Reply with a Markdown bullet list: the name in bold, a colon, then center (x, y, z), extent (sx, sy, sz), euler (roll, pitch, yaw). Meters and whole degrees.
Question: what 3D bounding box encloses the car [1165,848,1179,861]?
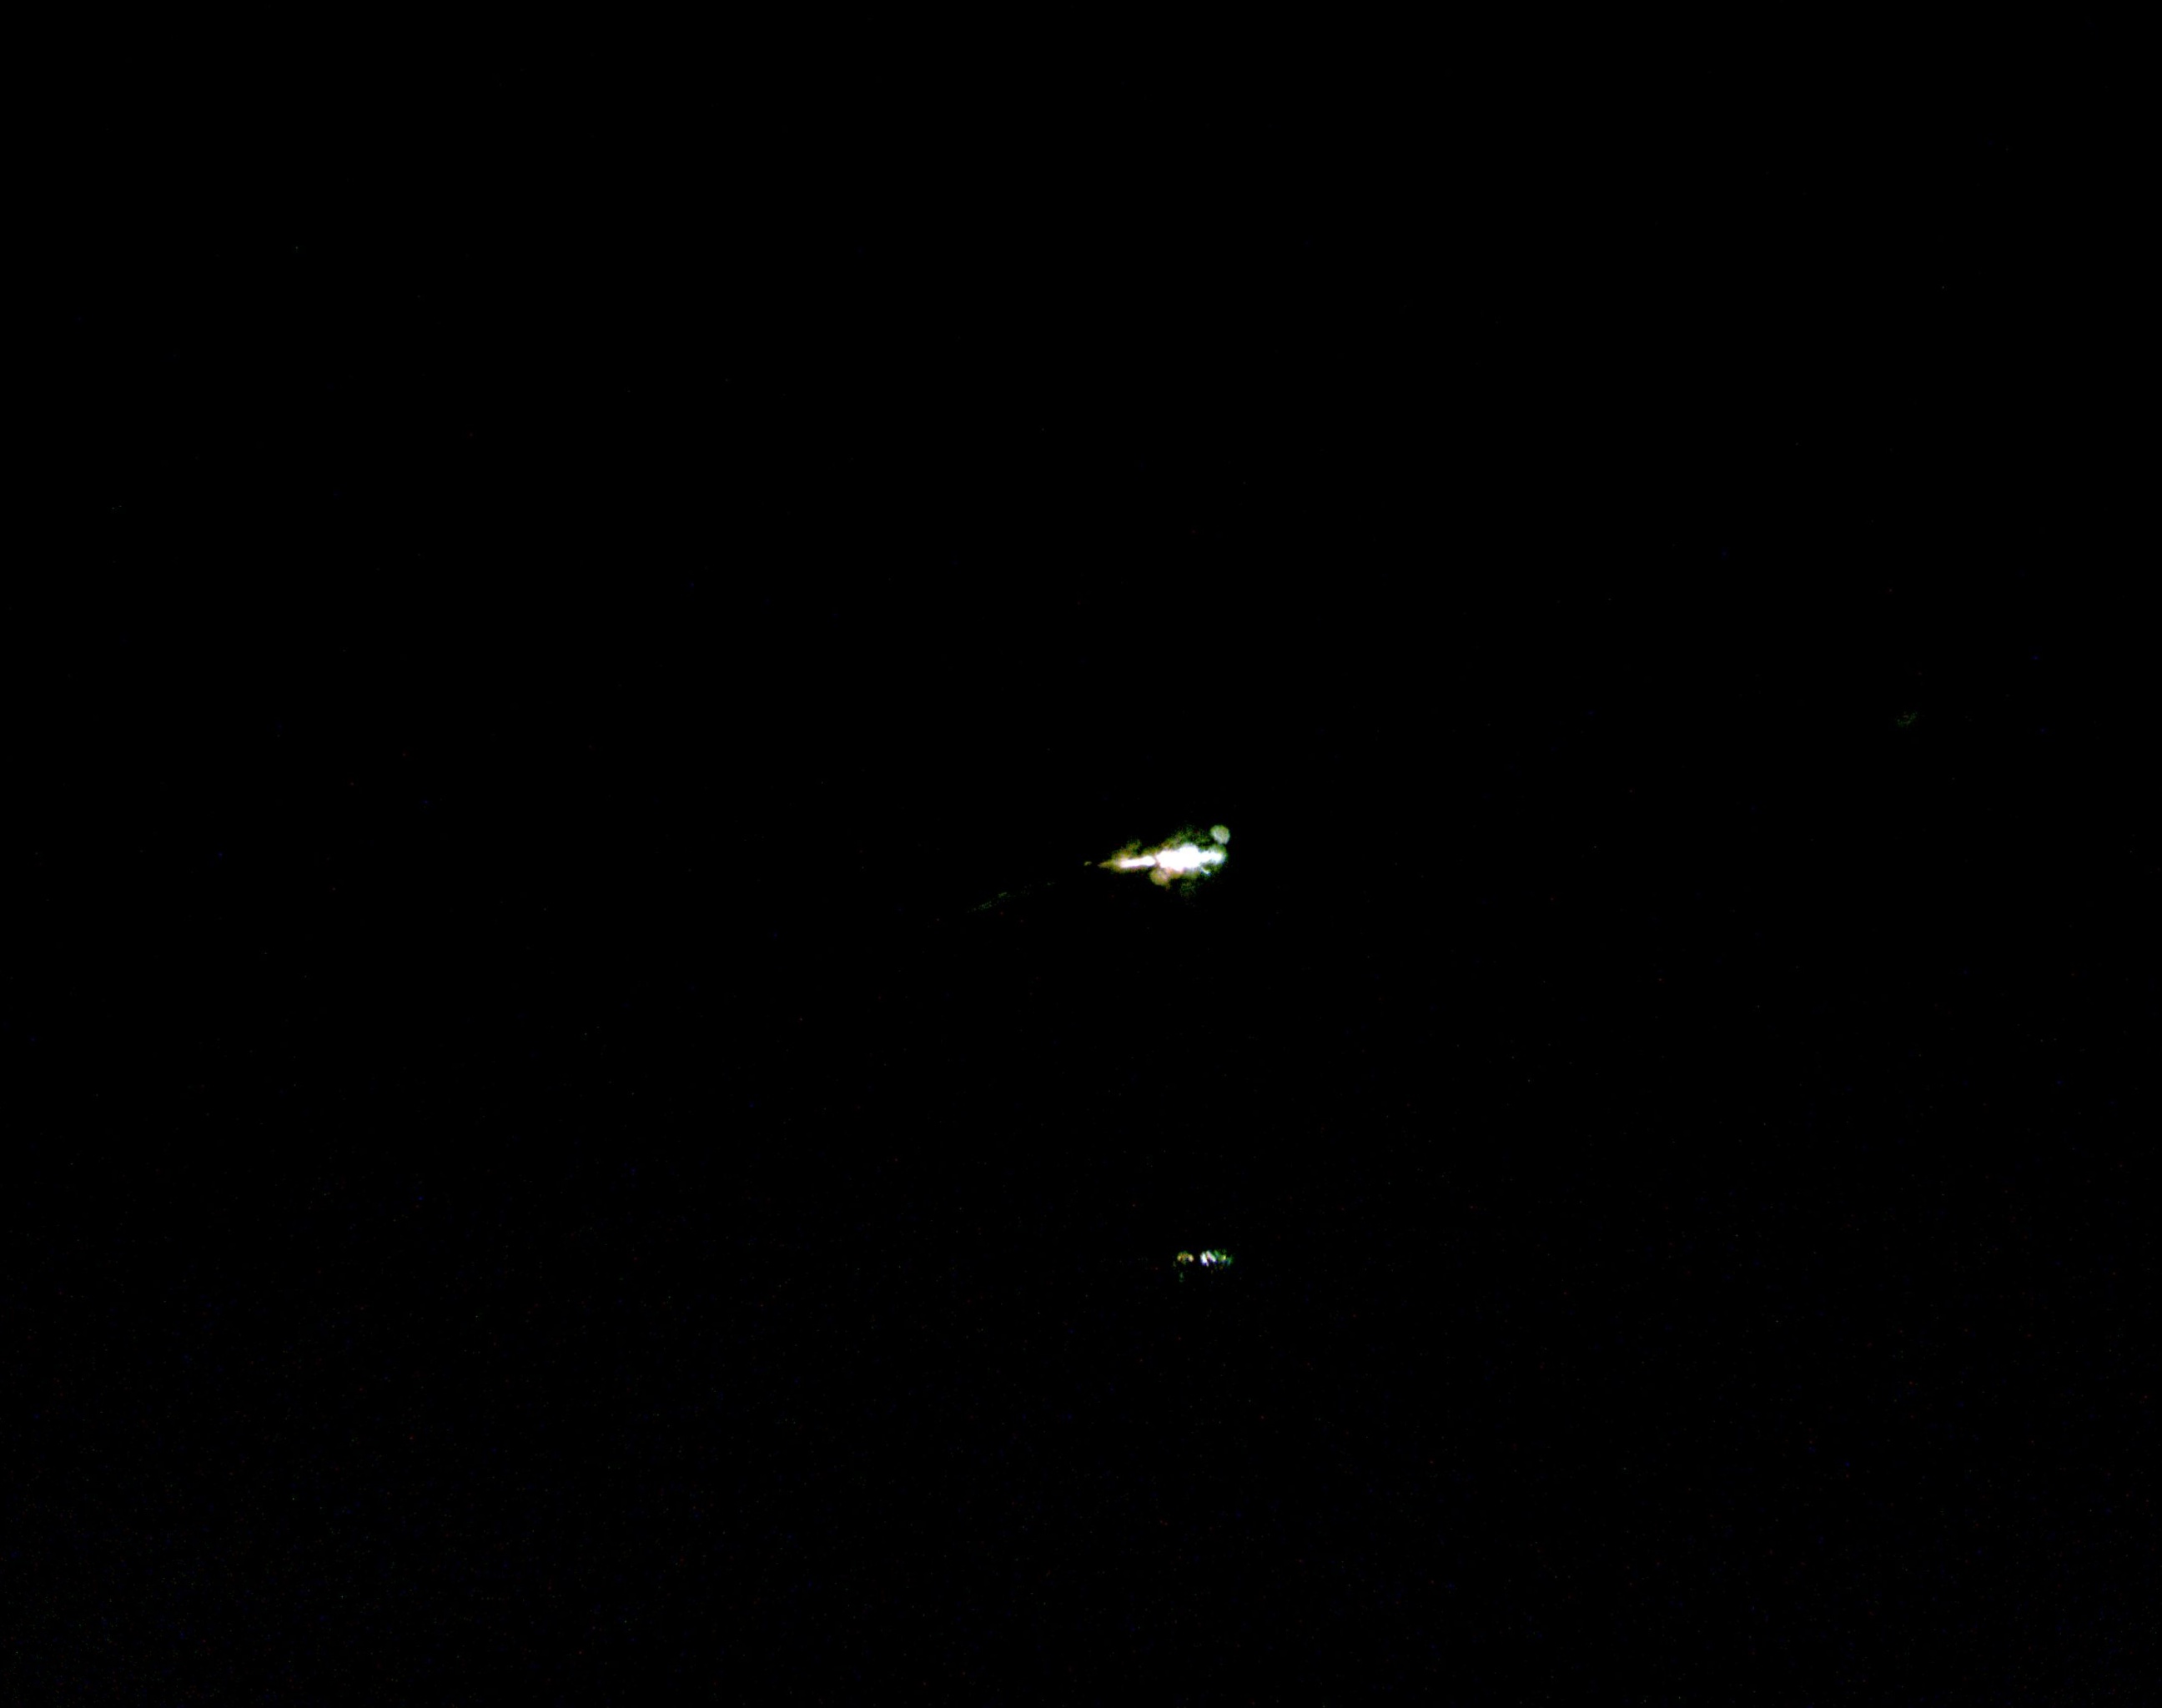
- **car**: center (12.501, 0.064, 104.100), extent (1.745, 1.623, 3.738), euler (-1, 0, 8)
